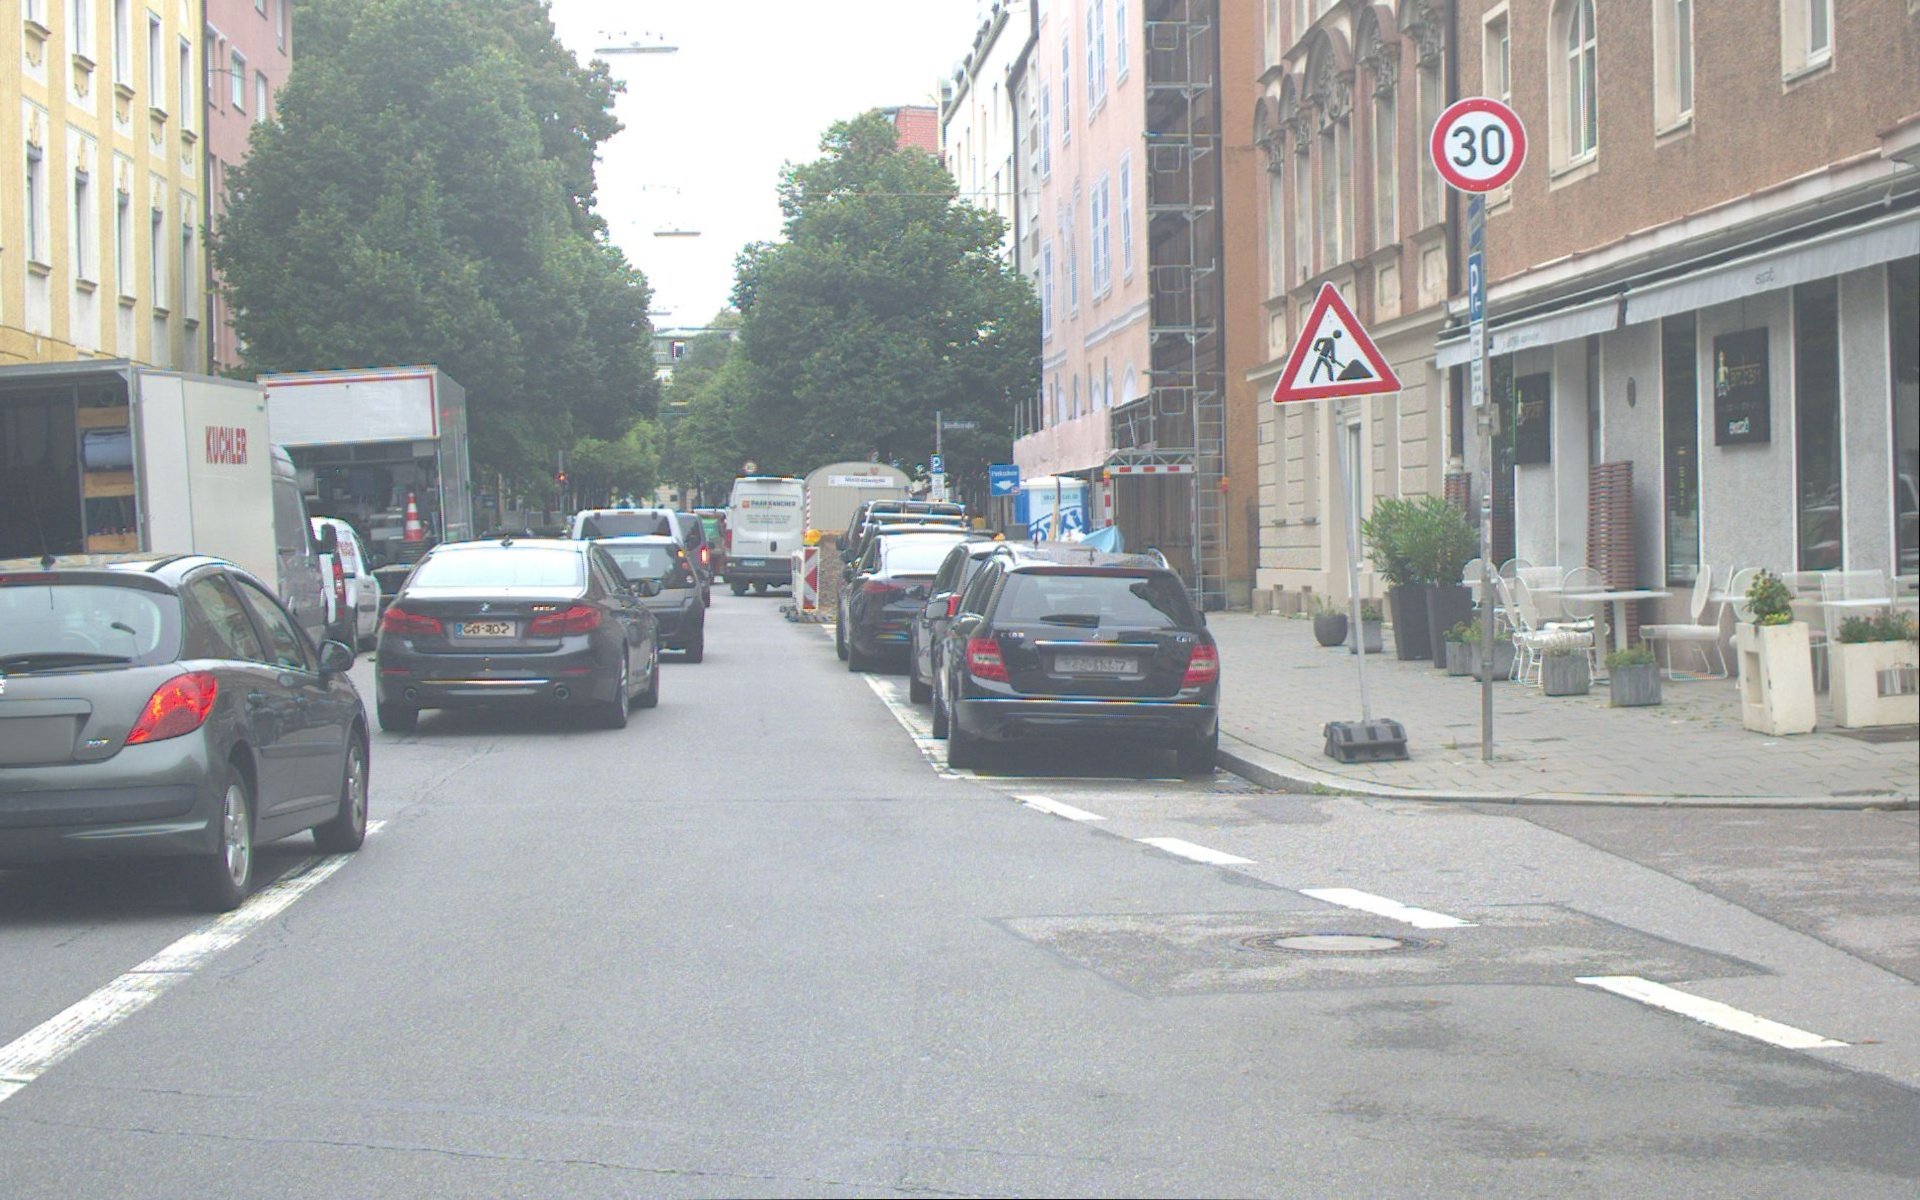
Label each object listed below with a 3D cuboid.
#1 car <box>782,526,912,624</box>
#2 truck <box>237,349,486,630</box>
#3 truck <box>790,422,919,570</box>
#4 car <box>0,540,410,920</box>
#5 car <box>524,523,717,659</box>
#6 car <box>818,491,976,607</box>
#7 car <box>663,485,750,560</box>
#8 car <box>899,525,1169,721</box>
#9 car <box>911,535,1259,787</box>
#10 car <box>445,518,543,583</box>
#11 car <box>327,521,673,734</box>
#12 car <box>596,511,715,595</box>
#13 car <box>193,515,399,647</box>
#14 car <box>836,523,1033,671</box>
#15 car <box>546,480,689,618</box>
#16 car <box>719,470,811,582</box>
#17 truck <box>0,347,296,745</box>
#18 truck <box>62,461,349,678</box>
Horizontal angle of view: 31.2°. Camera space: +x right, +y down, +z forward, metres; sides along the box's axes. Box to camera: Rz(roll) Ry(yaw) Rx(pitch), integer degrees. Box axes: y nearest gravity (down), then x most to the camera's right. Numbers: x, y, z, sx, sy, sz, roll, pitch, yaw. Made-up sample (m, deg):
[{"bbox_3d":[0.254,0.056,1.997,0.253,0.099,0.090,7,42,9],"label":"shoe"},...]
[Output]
[{"bbox_3d":[-1.842,-0.434,55.349,1.990,1.424,4.141,-1,2,-2],"label":"car"},{"bbox_3d":[-8.884,-1.633,51.790,3.012,3.938,6.997,0,1,-4],"label":"truck"},{"bbox_3d":[-2.244,-2.142,71.585,2.491,2.963,5.328,0,1,-3],"label":"truck"},{"bbox_3d":[-3.730,0.476,15.369,1.759,1.456,4.074,-1,1,2],"label":"car"},{"bbox_3d":[-3.900,-0.147,40.150,1.990,1.424,4.141,-1,2,-2],"label":"car"},{"bbox_3d":[-0.889,-0.716,45.799,1.990,1.424,4.141,-1,2,-2],"label":"car"},{"bbox_3d":[-6.561,-2.004,89.317,1.993,1.897,4.000,0,1,-1],"label":"car"},{"bbox_3d":[0.546,0.141,29.132,1.844,1.424,4.141,2,2,-4],"label":"car"},{"bbox_3d":[0.743,0.339,23.243,1.844,1.424,4.184,2,2,-4],"label":"car"},{"bbox_3d":[-10.615,-1.142,78.566,1.939,1.443,3.867,0,1,-4],"label":"car"},{"bbox_3d":[-3.506,0.142,27.138,1.990,1.424,4.906,-1,2,1],"label":"car"},{"bbox_3d":[-5.607,-0.894,63.673,1.990,1.424,4.141,-1,2,-2],"label":"car"},{"bbox_3d":[-8.445,-0.279,44.067,1.990,1.605,4.141,0,1,-2],"label":"car"},{"bbox_3d":[-0.339,-0.081,38.053,1.844,1.424,4.307,2,2,-4],"label":"car"},{"bbox_3d":[-5.358,-0.846,54.217,1.990,2.068,4.141,-1,2,-2],"label":"car"},{"bbox_3d":[-4.437,-1.694,78.676,1.939,2.472,4.783,0,1,-1],"label":"car"},{"bbox_3d":[-7.498,-0.508,28.451,2.773,2.863,7.203,-1,2,-2],"label":"truck"},{"bbox_3d":[-7.957,-0.355,36.731,2.286,2.164,4.807,0,1,-4],"label":"truck"}]
